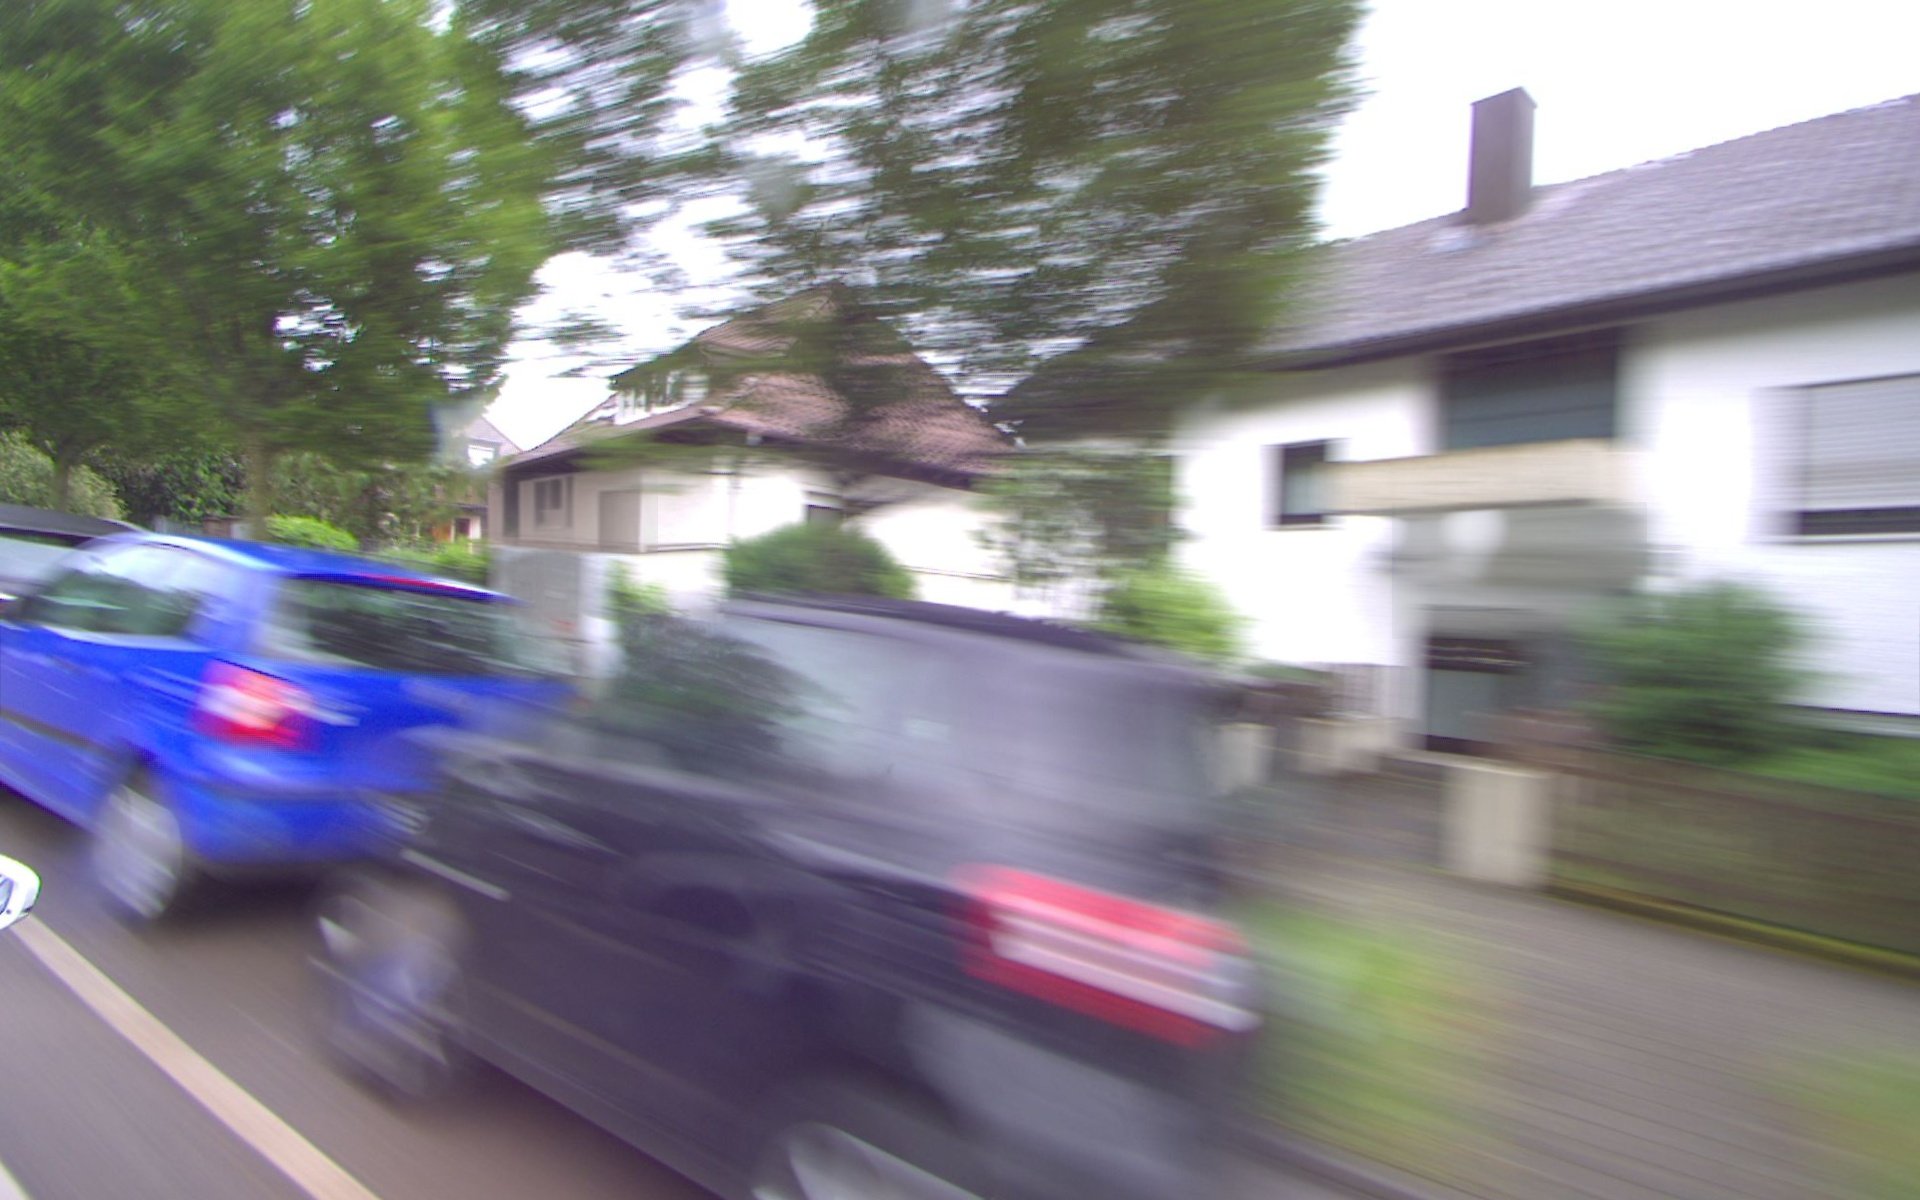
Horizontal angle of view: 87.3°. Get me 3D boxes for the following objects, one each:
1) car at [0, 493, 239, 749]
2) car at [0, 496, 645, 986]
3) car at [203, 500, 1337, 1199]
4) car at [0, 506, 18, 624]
[{"bbox_3d":[-7.592,-0.035,7.807,4.656,1.570,1.777,6,-2,37],"label":"car"},{"bbox_3d":[-3.652,0.420,5.099,3.935,1.537,1.657,6,-2,33],"label":"car"},{"bbox_3d":[-0.636,0.682,3.101,2.972,1.581,1.630,6,-2,32],"label":"car"},{"bbox_3d":[-12.645,-0.581,11.754,4.224,1.440,1.644,6,-3,38],"label":"car"}]
